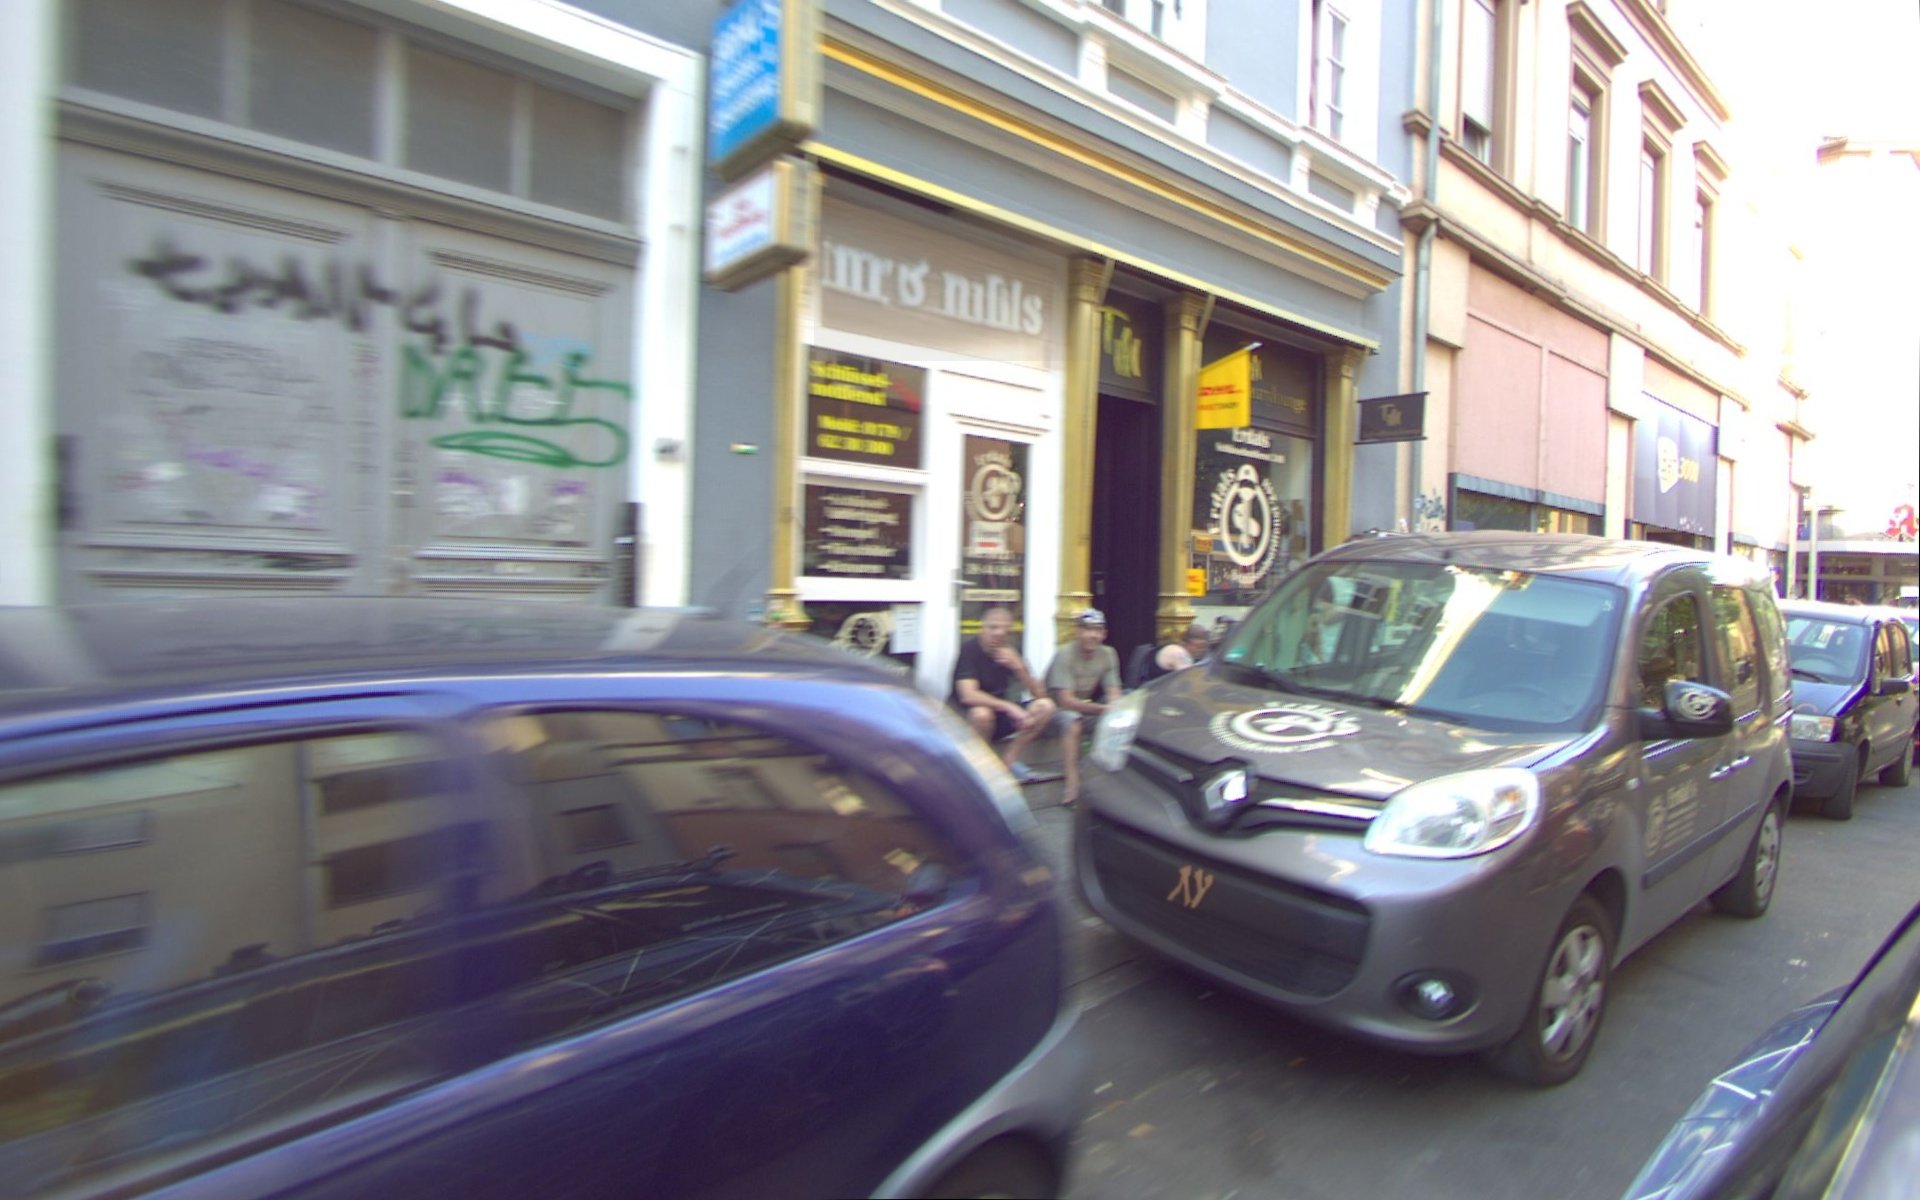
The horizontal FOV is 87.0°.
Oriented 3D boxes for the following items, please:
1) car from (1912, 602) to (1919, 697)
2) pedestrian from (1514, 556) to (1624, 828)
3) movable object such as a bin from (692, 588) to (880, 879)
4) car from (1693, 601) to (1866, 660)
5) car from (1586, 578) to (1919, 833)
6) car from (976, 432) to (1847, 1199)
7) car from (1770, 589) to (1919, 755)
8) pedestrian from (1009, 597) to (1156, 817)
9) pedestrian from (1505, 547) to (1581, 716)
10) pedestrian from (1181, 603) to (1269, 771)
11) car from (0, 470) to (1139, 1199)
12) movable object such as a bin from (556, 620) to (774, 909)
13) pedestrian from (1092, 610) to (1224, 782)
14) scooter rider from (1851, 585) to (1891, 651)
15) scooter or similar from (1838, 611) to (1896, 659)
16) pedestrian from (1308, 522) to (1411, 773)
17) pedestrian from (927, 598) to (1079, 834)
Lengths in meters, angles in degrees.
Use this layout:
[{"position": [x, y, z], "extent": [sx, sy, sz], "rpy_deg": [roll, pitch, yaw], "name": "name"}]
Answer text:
[{"position": [17.649, 0.807, 17.233], "extent": [4.066, 1.535, 1.789], "rpy_deg": [0, 0, -42], "name": "car"}, {"position": [4.098, 0.581, 6.811], "extent": [0.643, 1.726, 0.442], "rpy_deg": [0, 0, -39], "name": "pedestrian"}, {"position": [-0.858, 0.586, 4.927], "extent": [0.570, 1.259, 0.763], "rpy_deg": [0, 2, -42], "name": "movable object such as a bin"}, {"position": [23.489, 0.824, 29.097], "extent": [1.757, 1.504, 3.581], "rpy_deg": [0, 1, -39], "name": "car"}, {"position": [6.631, 0.664, 8.184], "extent": [3.253, 1.575, 1.575], "rpy_deg": [0, 4, -38], "name": "car"}, {"position": [2.279, 0.496, 4.488], "extent": [4.239, 1.816, 1.902], "rpy_deg": [0, 0, -40], "name": "car"}, {"position": [10.303, 0.675, 11.074], "extent": [3.491, 1.592, 1.609], "rpy_deg": [0, 0, -40], "name": "car"}, {"position": [0.773, 0.630, 6.447], "extent": [0.642, 1.293, 0.677], "rpy_deg": [0, 0, -38], "name": "pedestrian"}, {"position": [6.322, 0.323, 10.968], "extent": [0.627, 1.762, 0.650], "rpy_deg": [0, 0, 38], "name": "pedestrian"}, {"position": [2.053, 0.645, 7.843], "extent": [0.505, 1.238, 0.439], "rpy_deg": [0, 0, -38], "name": "pedestrian"}, {"position": [-1.478, 0.652, 1.313], "extent": [3.551, 1.530, 1.554], "rpy_deg": [0, 0, -43], "name": "car"}, {"position": [-1.327, 0.668, 4.539], "extent": [0.673, 1.105, 0.726], "rpy_deg": [1, 2, -42], "name": "movable object such as a bin"}, {"position": [1.412, 0.647, 7.256], "extent": [0.642, 1.139, 0.677], "rpy_deg": [0, 0, -38], "name": "pedestrian"}, {"position": [23.494, 0.453, 26.107], "extent": [0.708, 1.669, 0.688], "rpy_deg": [0, 0, -41], "name": "scooter rider"}, {"position": [23.415, 0.890, 26.142], "extent": [0.505, 1.175, 1.056], "rpy_deg": [0, 0, -40], "name": "scooter or similar"}, {"position": [2.902, 0.330, 7.373], "extent": [0.551, 1.762, 0.428], "rpy_deg": [0, 0, -11], "name": "pedestrian"}, {"position": [0.251, 0.634, 6.019], "extent": [0.617, 1.293, 0.677], "rpy_deg": [0, 0, -38], "name": "pedestrian"}]
